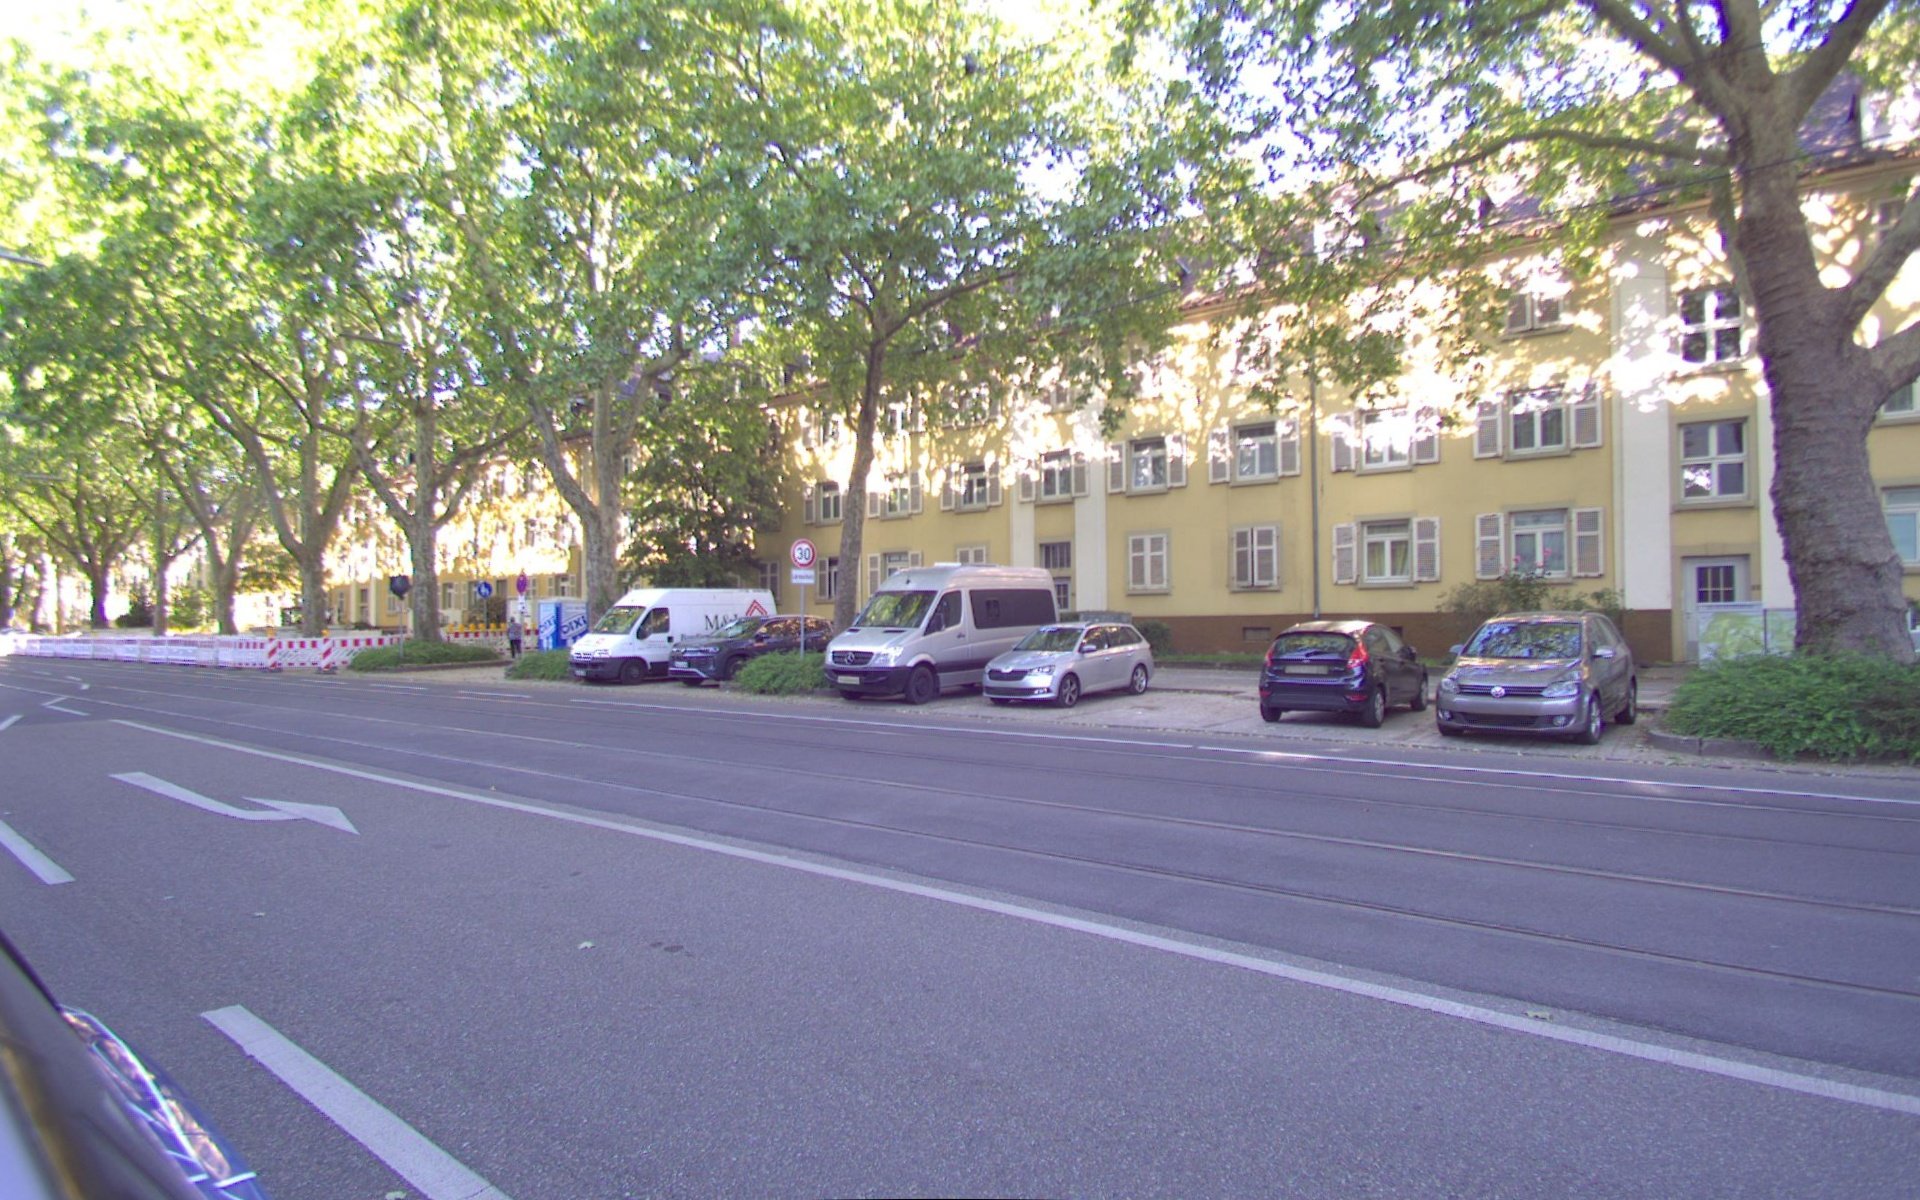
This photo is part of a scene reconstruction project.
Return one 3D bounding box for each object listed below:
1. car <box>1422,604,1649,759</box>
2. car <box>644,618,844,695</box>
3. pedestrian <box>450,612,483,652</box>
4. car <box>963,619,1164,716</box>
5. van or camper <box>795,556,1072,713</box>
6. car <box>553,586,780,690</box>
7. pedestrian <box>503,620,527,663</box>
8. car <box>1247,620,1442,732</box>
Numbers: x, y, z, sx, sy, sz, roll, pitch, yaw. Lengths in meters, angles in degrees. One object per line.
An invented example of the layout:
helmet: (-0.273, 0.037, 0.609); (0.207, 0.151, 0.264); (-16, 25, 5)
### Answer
car: (7.736, 0.928, 13.417); (1.814, 1.617, 4.145); (-2, 0, 41)
car: (-5.092, 1.275, 24.369); (1.967, 1.643, 4.520); (-2, -2, 38)
pedestrian: (-25.609, 1.670, 52.507); (1.233, 2.029, 1.085); (-2, -2, 36)
car: (2.035, 1.159, 18.908); (1.729, 1.481, 4.102); (0, 1, 40)
van or camper: (-0.317, 0.614, 20.493); (2.227, 2.697, 6.052); (-2, -1, 38)
car: (-7.446, 0.949, 26.288); (2.023, 2.394, 5.543); (-2, -2, 38)
pedestrian: (-16.560, 1.552, 37.654); (0.717, 1.585, 0.588); (-2, -2, 43)
car: (5.905, 1.049, 15.331); (1.740, 1.440, 3.528); (-2, -1, 39)
